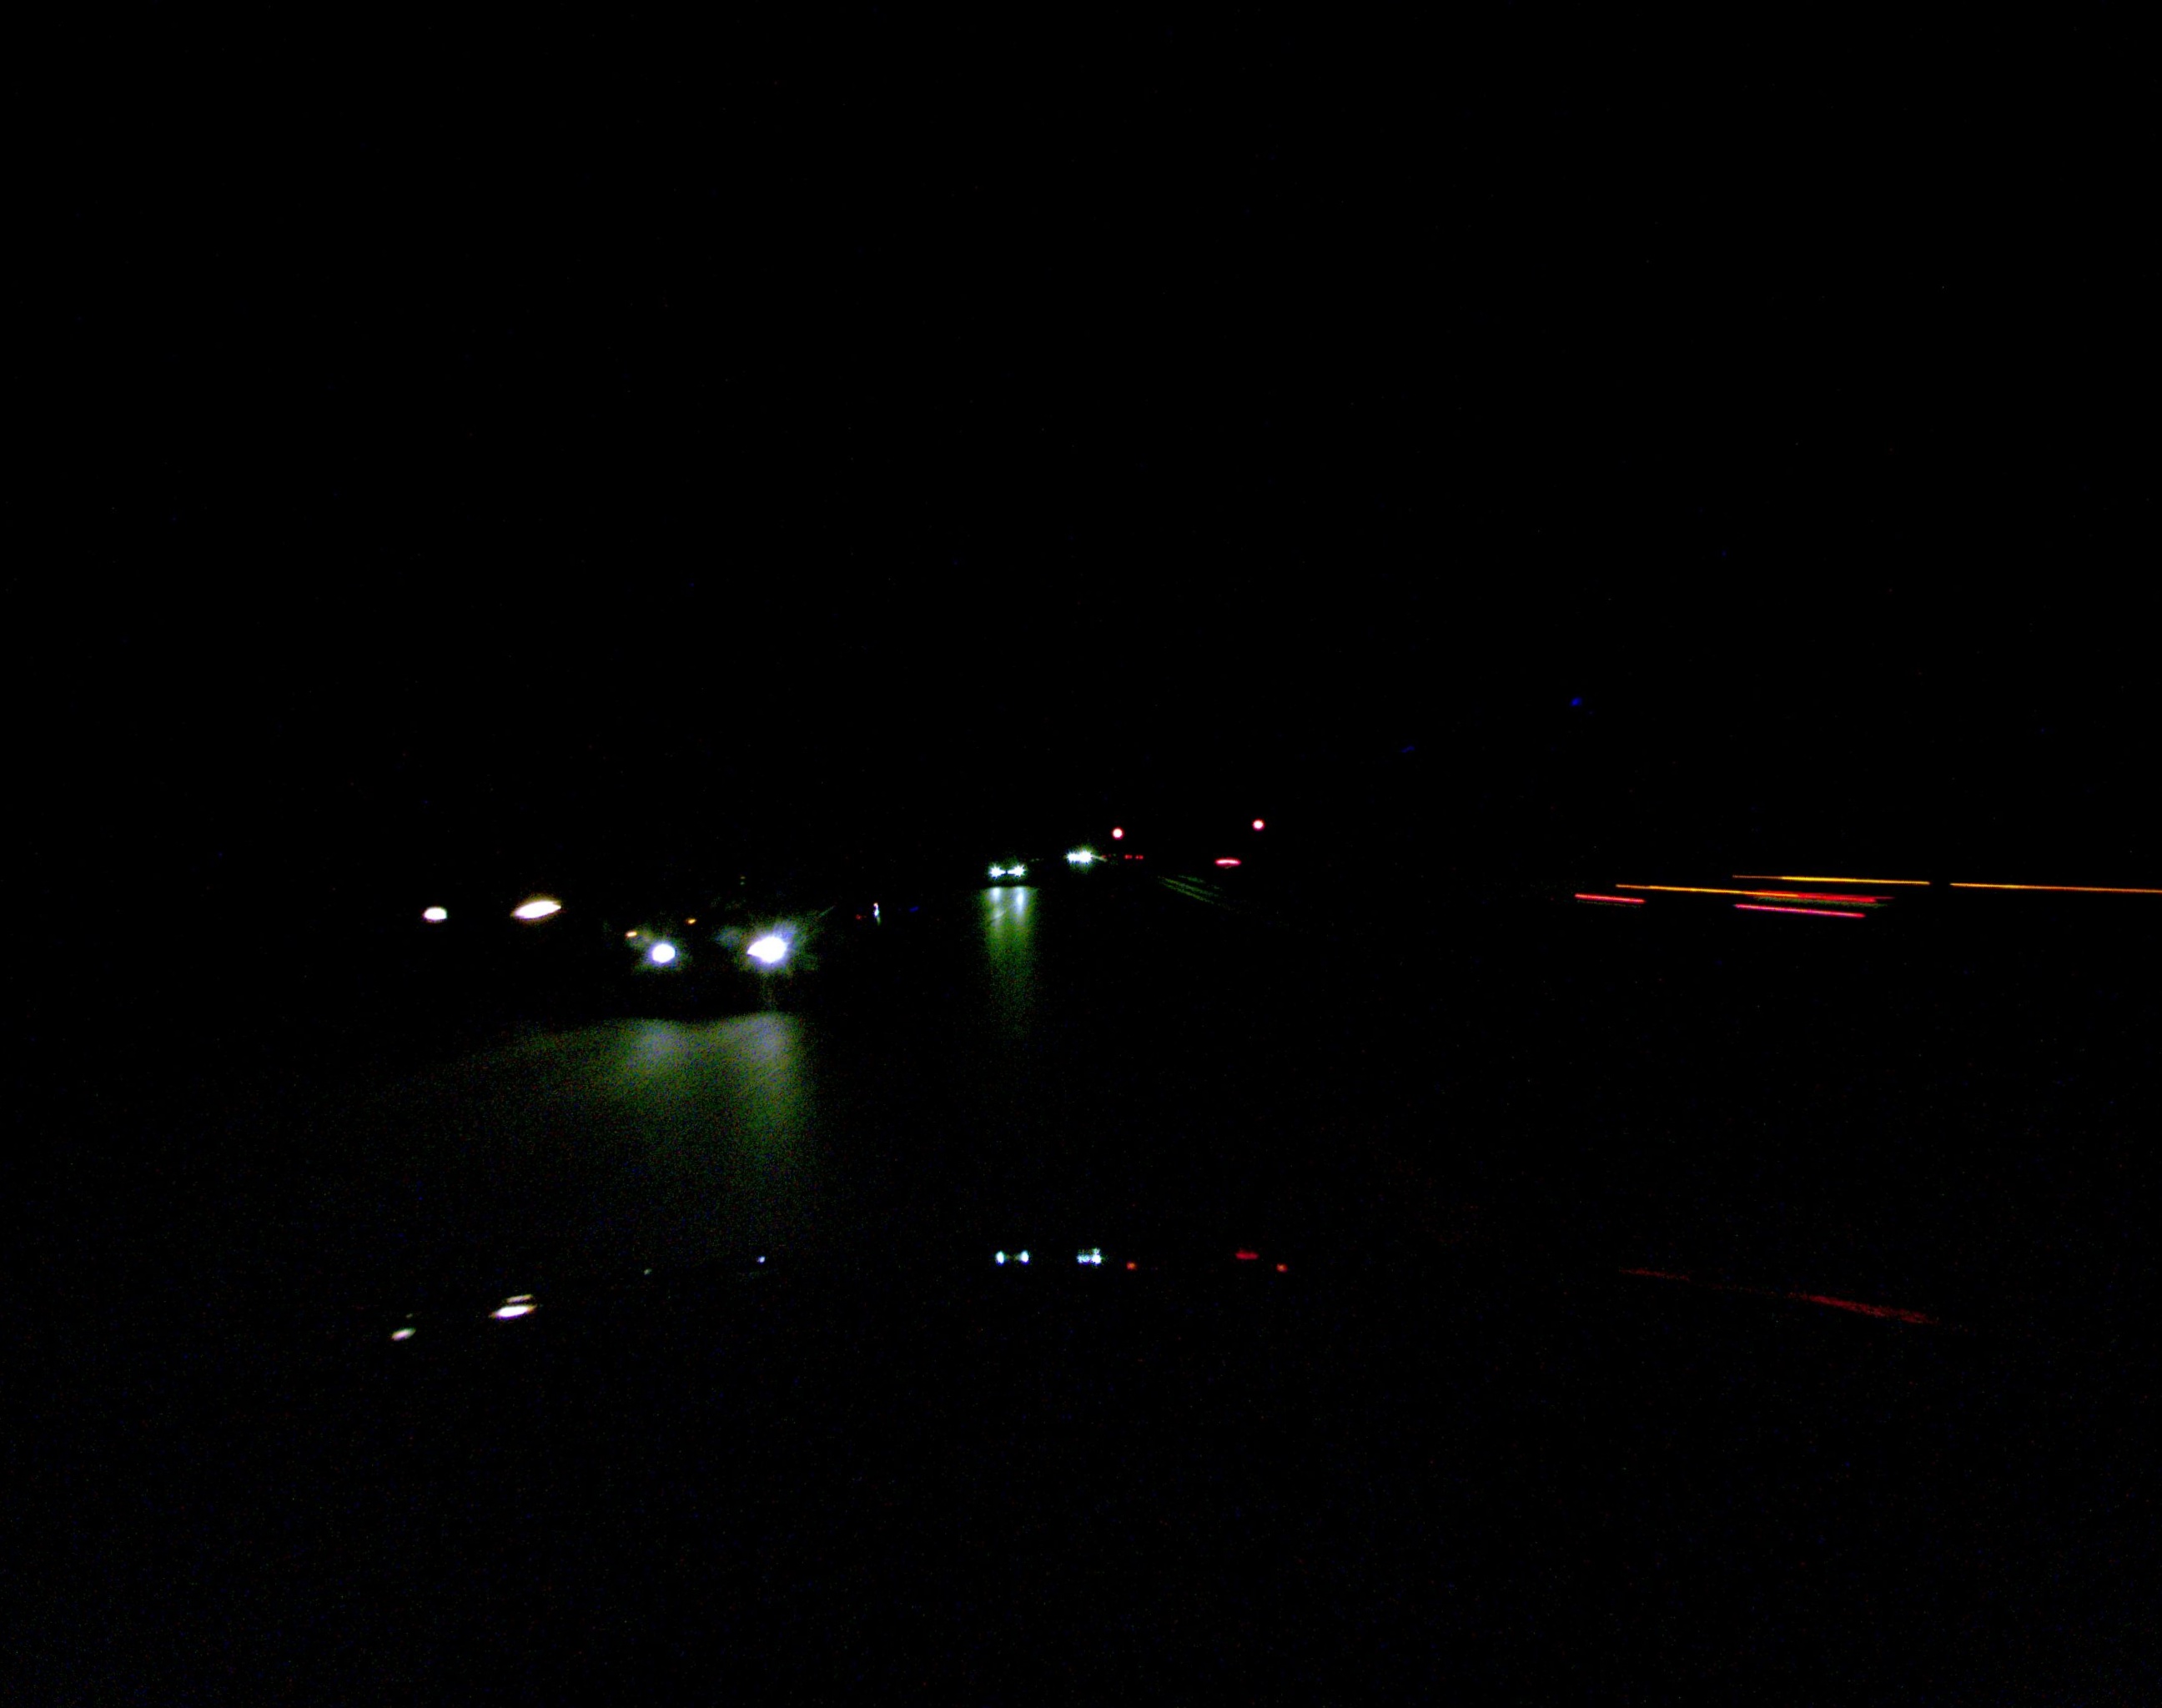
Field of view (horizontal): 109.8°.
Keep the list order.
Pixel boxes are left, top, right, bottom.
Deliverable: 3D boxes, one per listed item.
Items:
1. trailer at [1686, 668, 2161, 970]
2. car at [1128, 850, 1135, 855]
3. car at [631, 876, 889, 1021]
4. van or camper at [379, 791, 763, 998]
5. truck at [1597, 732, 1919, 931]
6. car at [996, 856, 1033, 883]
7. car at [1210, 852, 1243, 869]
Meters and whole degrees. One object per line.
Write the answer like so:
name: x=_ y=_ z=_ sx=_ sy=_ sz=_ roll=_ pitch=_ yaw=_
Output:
trailer: x=16.328 y=-0.481 z=11.730 sx=2.867 sy=4.152 sz=13.903 roll=1 pitch=1 yaw=0
car: x=15.833 y=-0.483 z=239.232 sx=1.998 sy=1.542 sz=5.004 roll=2 pitch=0 yaw=0
car: x=-4.089 y=1.104 z=10.529 sx=1.690 sy=1.405 sz=4.225 roll=-1 pitch=1 yaw=1
van or camper: x=-8.411 y=0.553 z=13.812 sx=2.212 sy=2.755 sz=6.804 roll=-2 pitch=0 yaw=1
truck: x=16.301 y=-0.500 z=18.987 sx=2.761 sy=4.188 sz=5.825 roll=1 pitch=1 yaw=0
car: x=-3.978 y=0.902 z=45.915 sx=1.795 sy=1.532 sz=4.225 roll=-1 pitch=0 yaw=1
car: x=13.247 y=0.585 z=69.552 sx=1.999 sy=1.453 sz=4.691 roll=1 pitch=1 yaw=-2
